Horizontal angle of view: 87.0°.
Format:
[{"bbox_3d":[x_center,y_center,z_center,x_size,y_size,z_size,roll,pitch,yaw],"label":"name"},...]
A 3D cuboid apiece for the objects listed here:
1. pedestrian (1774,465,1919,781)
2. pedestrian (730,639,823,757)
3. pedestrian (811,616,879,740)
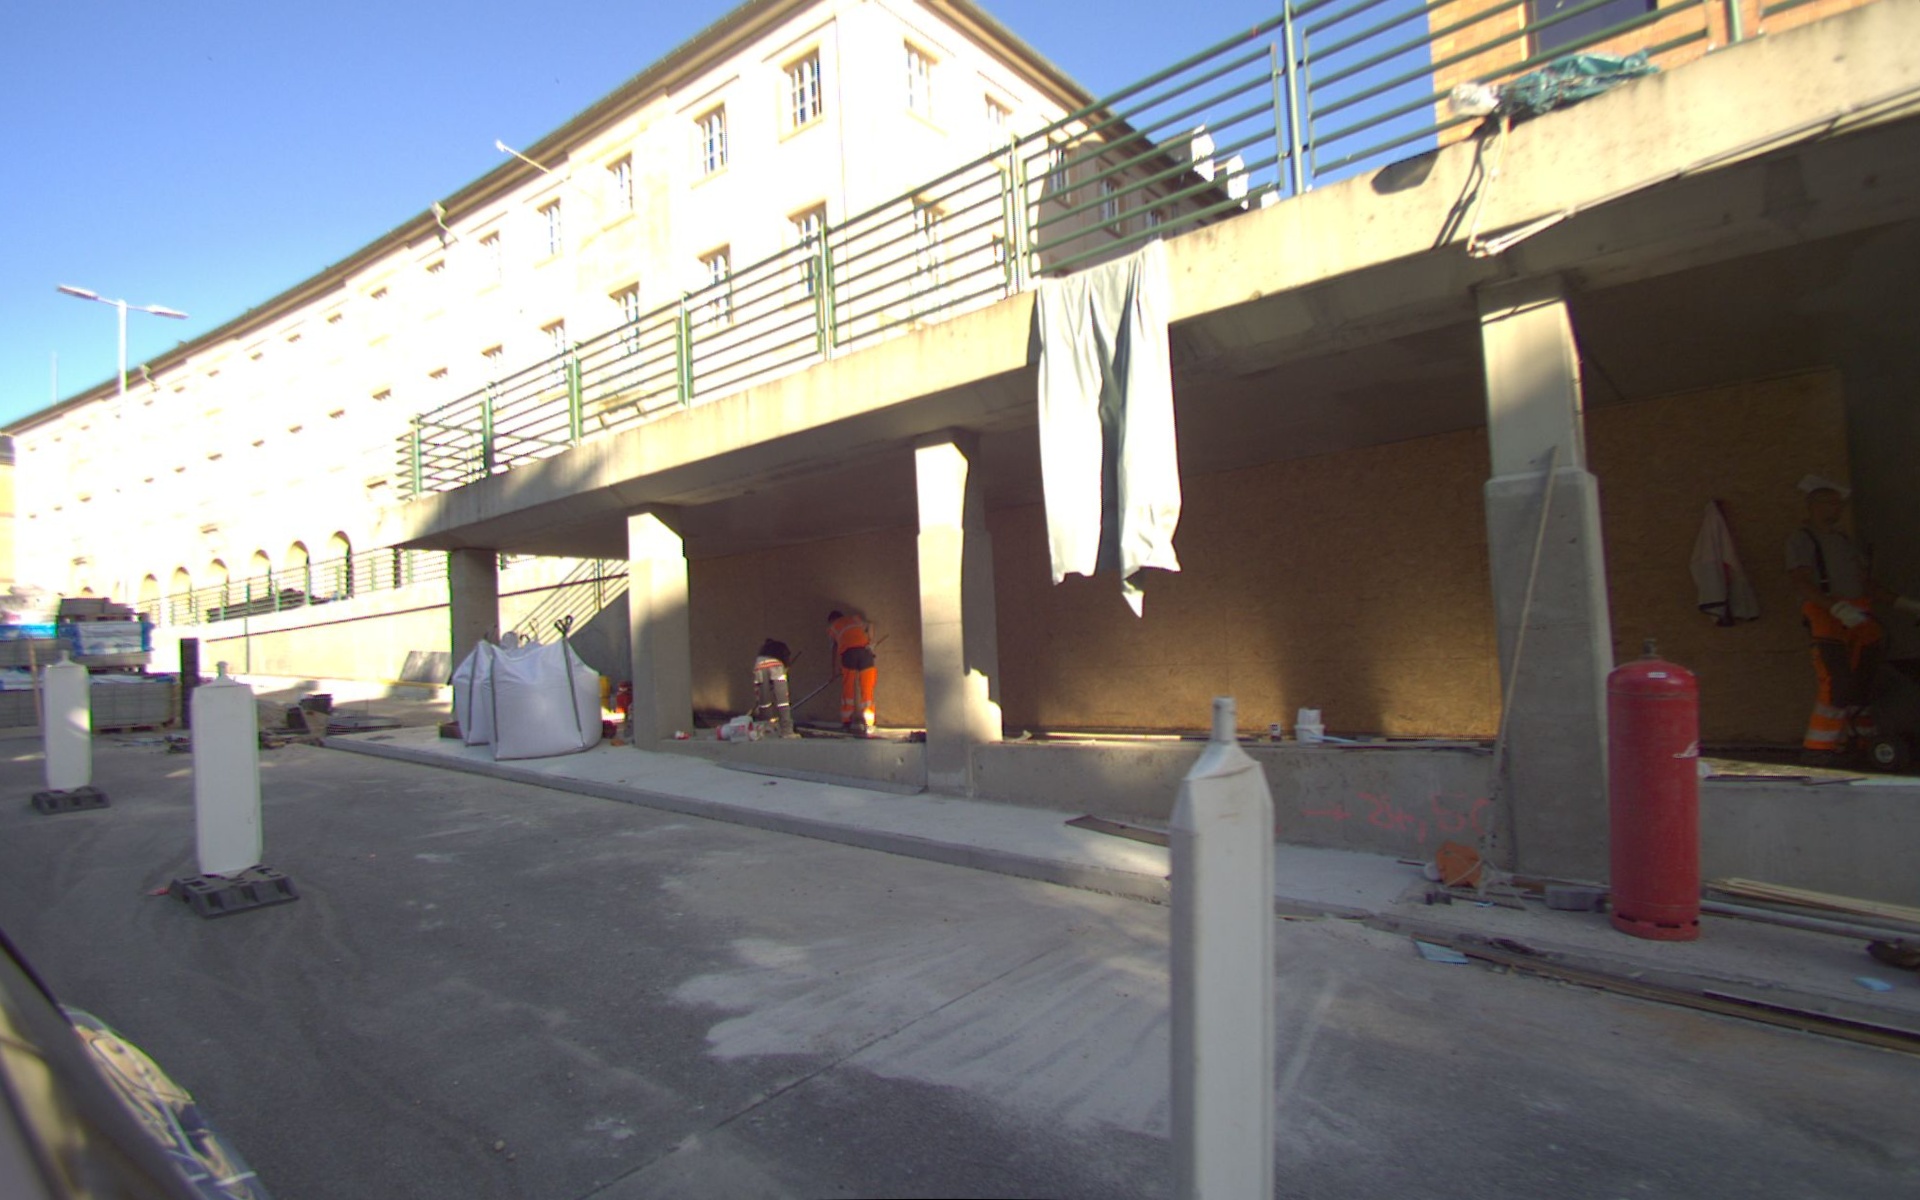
[{"bbox_3d":[6.044,0.147,6.707,0.936,1.971,0.670,-2,-1,41],"label":"pedestrian"},{"bbox_3d":[-2.318,1.208,12.816,0.781,1.409,0.865,-2,-2,32],"label":"pedestrian"},{"bbox_3d":[-1.525,1.016,13.413,0.629,1.592,0.644,-2,-2,31],"label":"pedestrian"}]
